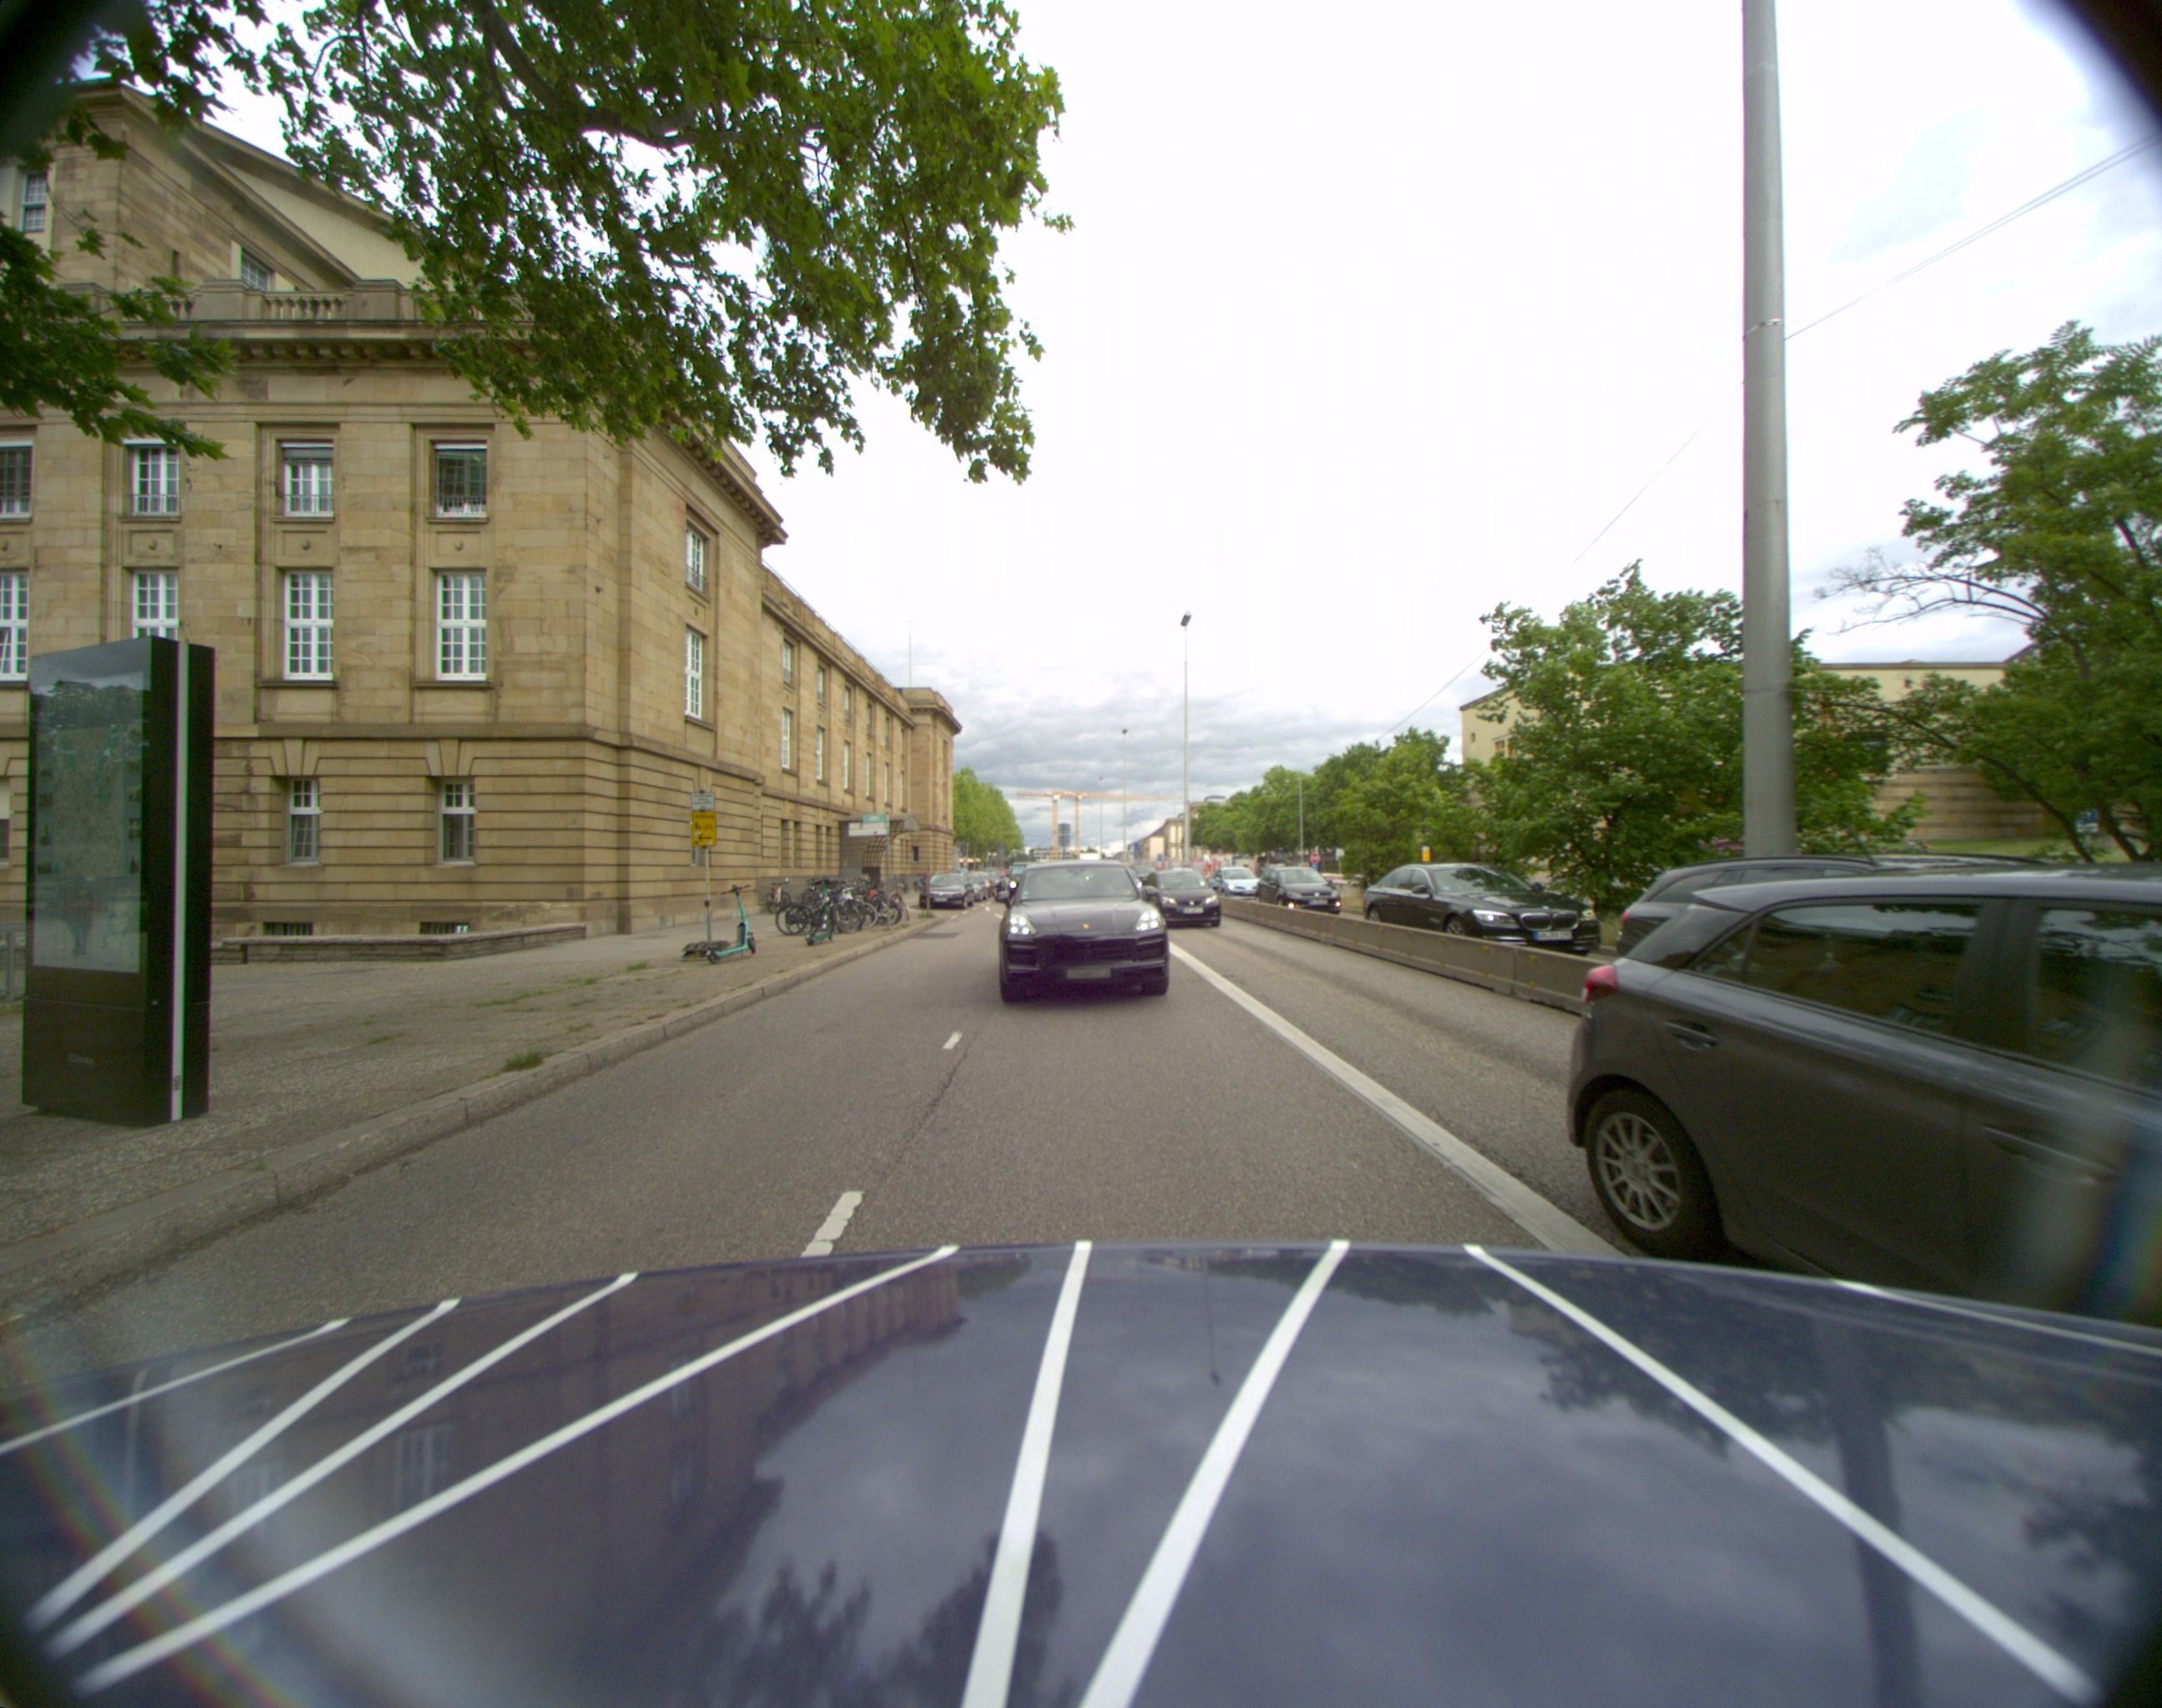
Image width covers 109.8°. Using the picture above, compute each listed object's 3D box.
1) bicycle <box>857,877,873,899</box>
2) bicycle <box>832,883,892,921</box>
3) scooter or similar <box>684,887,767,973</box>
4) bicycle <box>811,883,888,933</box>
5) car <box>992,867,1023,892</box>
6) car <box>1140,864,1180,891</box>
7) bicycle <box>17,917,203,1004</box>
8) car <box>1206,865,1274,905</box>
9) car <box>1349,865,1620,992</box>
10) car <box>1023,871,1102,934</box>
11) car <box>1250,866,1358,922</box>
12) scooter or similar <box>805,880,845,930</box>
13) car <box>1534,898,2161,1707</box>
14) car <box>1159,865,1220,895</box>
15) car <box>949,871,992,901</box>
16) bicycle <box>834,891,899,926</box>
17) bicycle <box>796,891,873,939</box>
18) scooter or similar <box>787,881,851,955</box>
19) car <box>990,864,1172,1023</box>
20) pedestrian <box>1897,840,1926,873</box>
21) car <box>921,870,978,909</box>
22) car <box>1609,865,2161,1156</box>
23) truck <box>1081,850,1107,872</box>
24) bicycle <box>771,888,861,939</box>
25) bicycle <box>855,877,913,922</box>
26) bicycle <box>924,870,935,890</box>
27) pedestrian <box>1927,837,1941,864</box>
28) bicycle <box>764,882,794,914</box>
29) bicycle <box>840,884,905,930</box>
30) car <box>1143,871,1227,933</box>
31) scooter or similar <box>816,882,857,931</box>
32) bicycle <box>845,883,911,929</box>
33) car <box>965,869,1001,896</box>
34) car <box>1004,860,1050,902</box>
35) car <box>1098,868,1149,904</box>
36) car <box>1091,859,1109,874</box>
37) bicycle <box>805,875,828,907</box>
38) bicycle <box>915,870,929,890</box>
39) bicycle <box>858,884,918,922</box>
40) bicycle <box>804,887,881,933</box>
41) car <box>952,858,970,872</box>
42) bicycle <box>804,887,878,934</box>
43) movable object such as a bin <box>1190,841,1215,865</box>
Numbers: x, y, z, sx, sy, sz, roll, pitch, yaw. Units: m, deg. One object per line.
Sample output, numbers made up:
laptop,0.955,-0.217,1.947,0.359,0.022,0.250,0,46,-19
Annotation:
bicycle,-10.419,1.626,36.615,0.222,1.022,1.859,-2,-1,0
bicycle,-6.161,1.343,21.402,1.565,1.022,0.436,-2,0,11
scooter or similar,-5.814,1.217,12.502,0.432,1.273,1.435,-2,0,11
bicycle,-5.899,1.368,19.418,1.762,1.202,0.604,-2,0,-3
car,-4.730,1.633,49.549,1.549,1.542,3.709,0,-1,2
car,5.026,1.455,48.808,1.781,1.611,4.044,-1,0,-5
bicycle,-13.303,1.445,10.428,2.016,1.119,0.389,-1,0,0
car,6.470,1.238,31.373,1.677,1.498,3.852,-1,0,-5
car,6.261,1.028,12.618,1.928,1.626,4.937,-1,0,1
car,-0.499,1.224,20.596,1.930,1.501,4.000,0,-1,-1
car,6.430,1.102,22.415,1.664,1.445,4.196,-1,0,-4
scooter or similar,-6.884,1.361,20.459,0.563,1.271,1.149,-2,0,6
car,2.967,0.913,1.310,1.803,1.429,4.019,-1,0,-3
car,5.783,1.366,41.019,1.884,1.472,4.701,-1,0,-9
car,-5.631,1.609,39.172,1.713,1.417,3.996,1,0,-1
bicycle,-6.074,1.532,21.519,1.730,0.911,0.614,-1,0,19
bicycle,-5.884,1.444,18.126,1.731,1.085,0.426,-2,0,13
scooter or similar,-5.110,1.223,14.904,0.727,1.323,1.413,-2,0,-1
car,-0.162,0.968,10.129,1.908,1.647,4.199,-1,-1,-5
pedestrian,47.755,0.146,43.690,0.693,1.842,0.804,-3,0,1
car,-5.442,1.440,31.908,1.793,1.477,4.325,-1,0,-2
car,6.482,0.838,5.553,1.821,1.490,4.768,-1,-1,-2
truck,1.601,0.925,98.381,2.979,2.757,7.254,0,-1,-2
bicycle,-6.116,1.372,17.553,1.860,1.085,0.666,-2,0,13
bicycle,-5.698,1.314,21.975,1.544,1.249,0.544,-2,0,19
bicycle,-10.122,1.717,50.841,0.413,1.280,1.790,0,0,0
pedestrian,51.289,-0.207,45.688,0.348,1.602,0.405,-3,0,1
bicycle,-10.322,1.473,26.006,0.241,0.992,1.963,-1,0,0
bicycle,-5.638,1.421,20.551,1.616,1.123,0.469,-2,0,-26
car,2.689,1.214,20.411,1.612,1.464,3.622,-1,-1,-2
scooter or similar,-6.551,1.387,20.379,0.426,1.217,1.313,-2,0,10
bicycle,-5.427,1.371,20.335,1.616,1.123,0.407,-2,0,-26
car,-5.684,1.617,44.542,1.620,1.446,3.858,1,0,-1
car,-2.602,1.293,37.764,1.952,1.914,4.399,-1,-1,0
car,1.904,1.435,35.297,1.691,1.496,3.998,-1,0,-6
car,2.254,1.463,91.471,1.843,1.750,4.479,0,-1,-3
bicycle,-10.376,1.447,29.850,0.276,1.176,1.538,-2,0,2
bicycle,-10.285,1.661,49.200,0.557,1.209,1.916,0,0,0
bicycle,-5.679,1.442,22.346,1.664,1.068,0.586,-1,0,20
bicycle,-5.959,1.394,18.991,1.731,1.085,0.575,-2,0,9
car,-13.779,1.295,87.483,1.584,1.521,3.503,-1,0,-2
bicycle,-5.853,1.371,18.537,1.731,1.085,0.381,-2,0,13
movable object such as a bin,11.312,-0.040,70.879,1.526,2.172,3.292,0,-1,-5
